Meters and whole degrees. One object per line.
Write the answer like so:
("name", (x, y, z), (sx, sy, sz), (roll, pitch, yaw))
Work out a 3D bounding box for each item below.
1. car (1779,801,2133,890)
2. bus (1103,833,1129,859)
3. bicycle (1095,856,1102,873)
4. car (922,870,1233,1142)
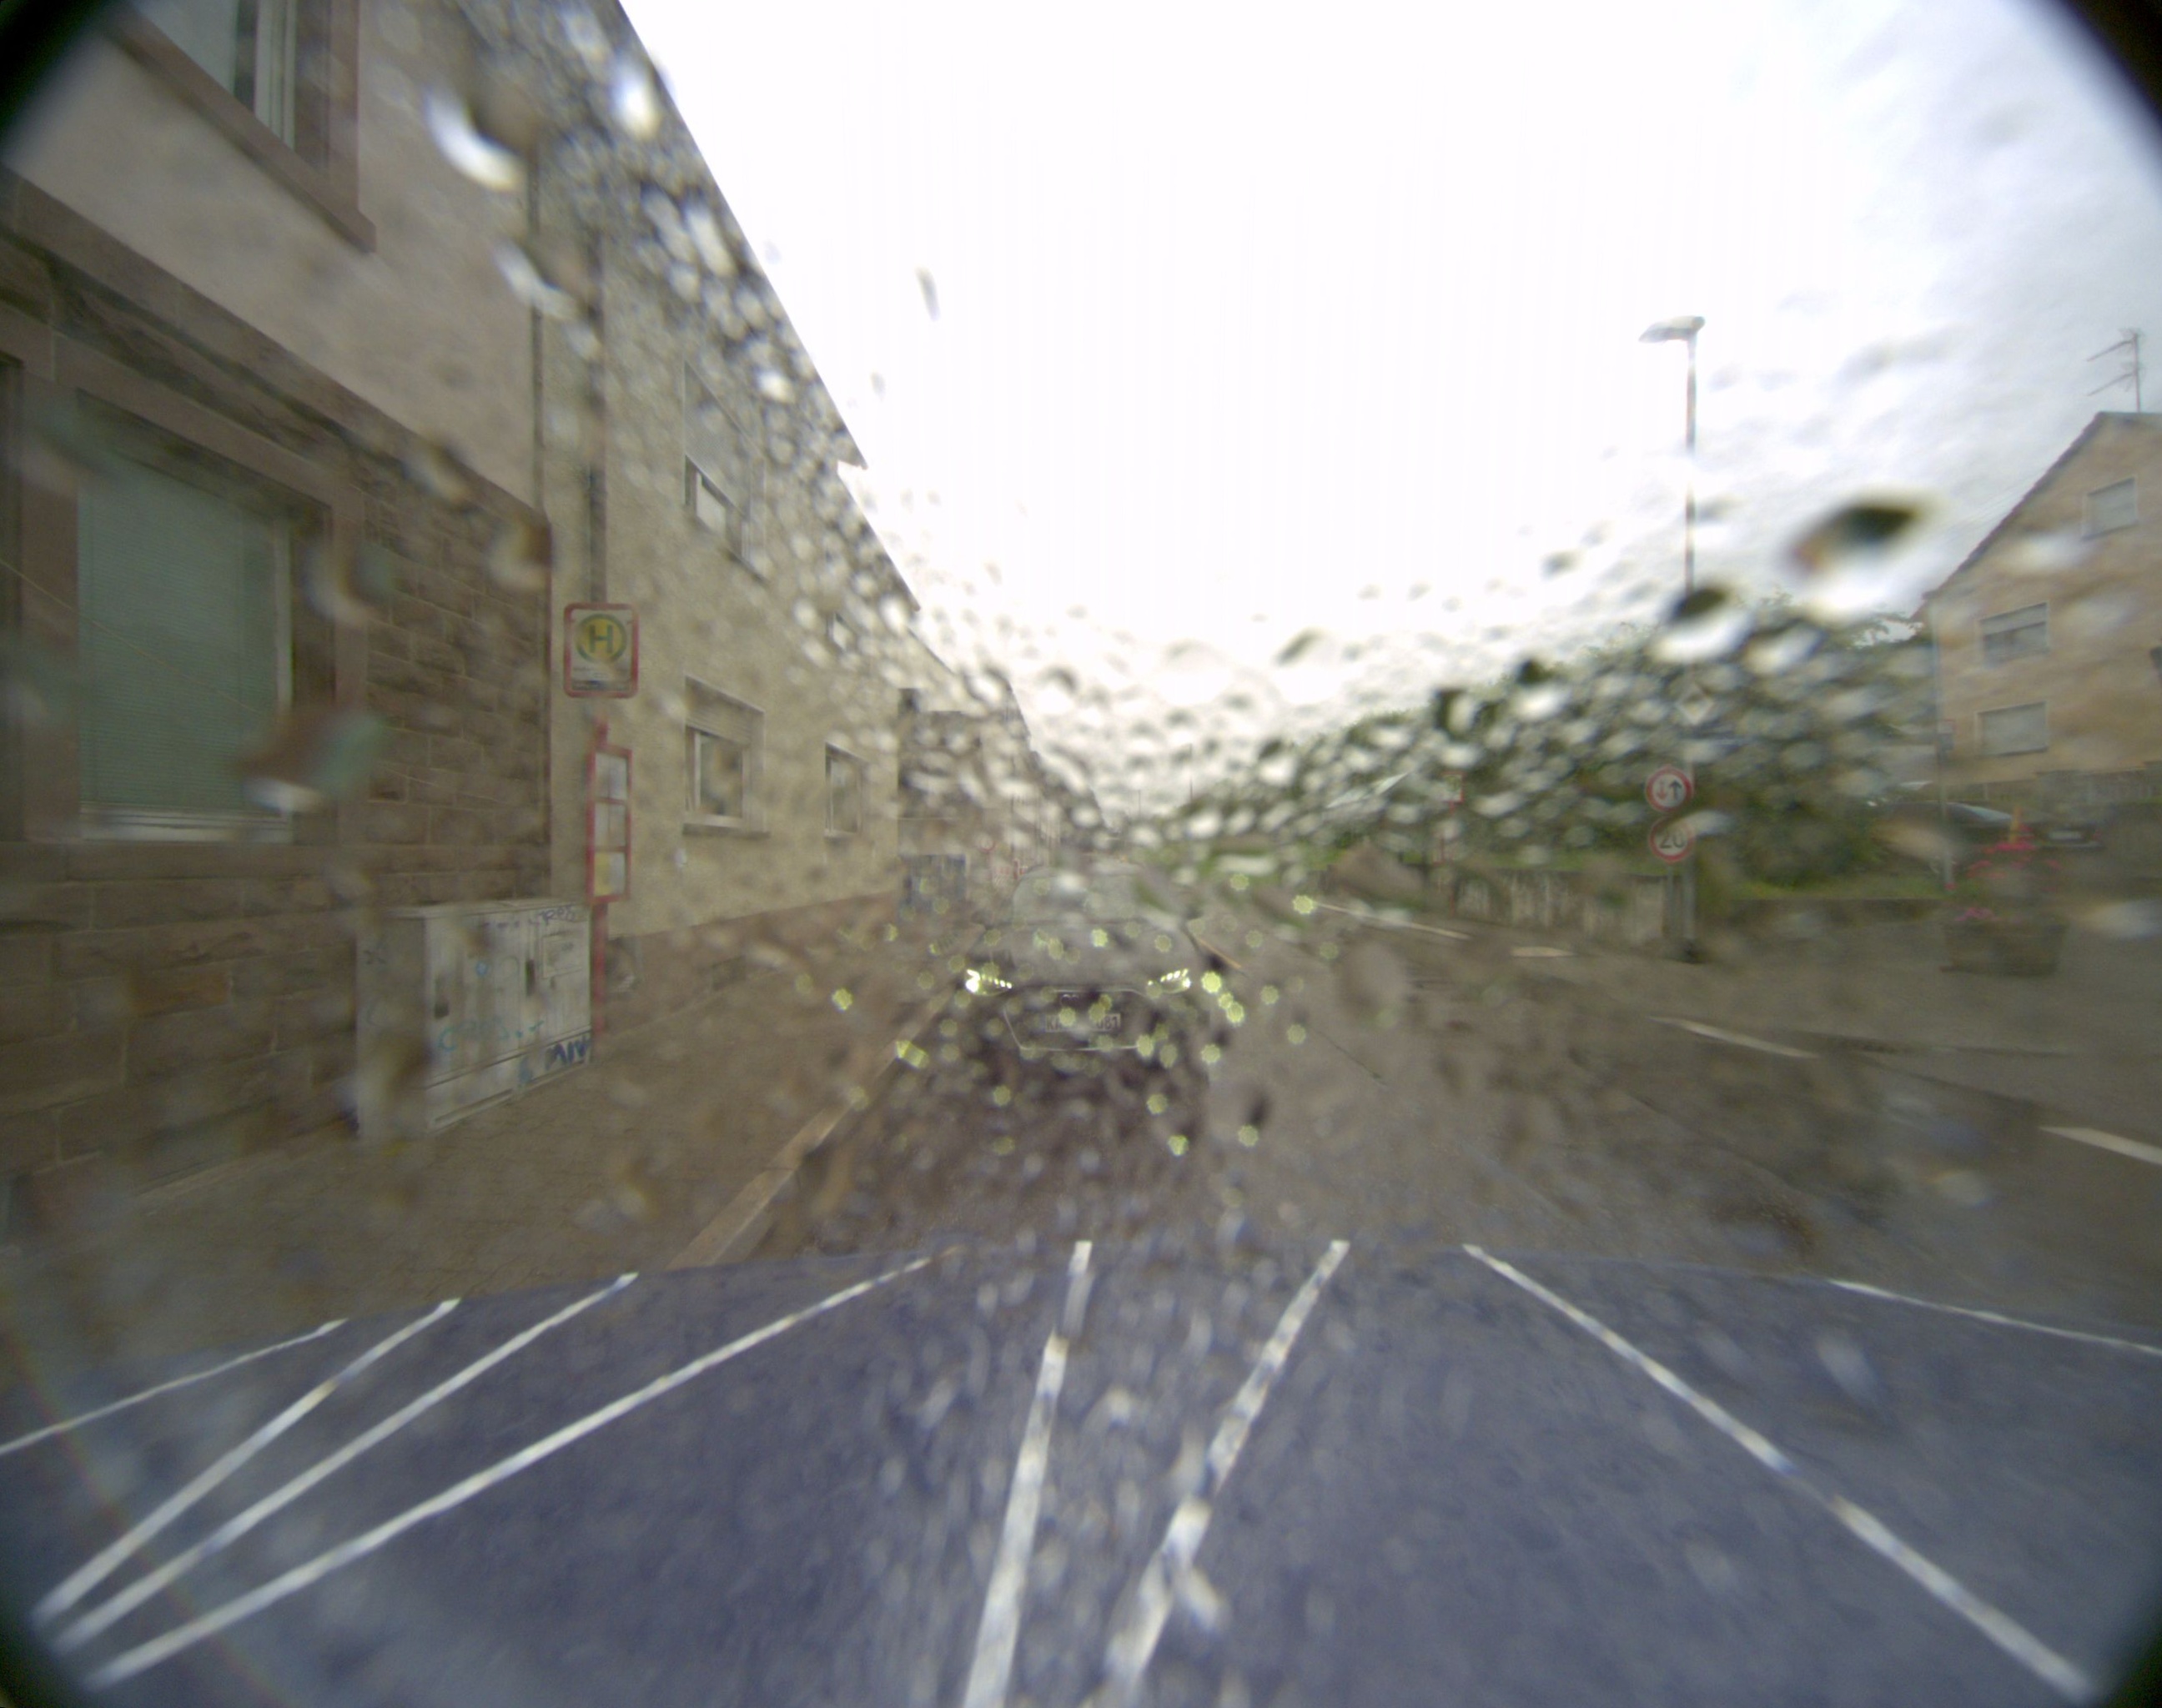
("car", (15.932, -0.246, 14.271), (1.749, 1.382, 4.220), (-1, 3, 0))
("bus", (4.364, -1.102, 97.092), (2.685, 2.988, 14.542), (1, 1, 0))
("bicycle", (1.176, 0.697, 50.862), (0.407, 1.137, 1.221), (1, 1, 2))
("car", (0.005, 0.969, 6.862), (1.851, 1.444, 4.531), (1, 1, 1))
